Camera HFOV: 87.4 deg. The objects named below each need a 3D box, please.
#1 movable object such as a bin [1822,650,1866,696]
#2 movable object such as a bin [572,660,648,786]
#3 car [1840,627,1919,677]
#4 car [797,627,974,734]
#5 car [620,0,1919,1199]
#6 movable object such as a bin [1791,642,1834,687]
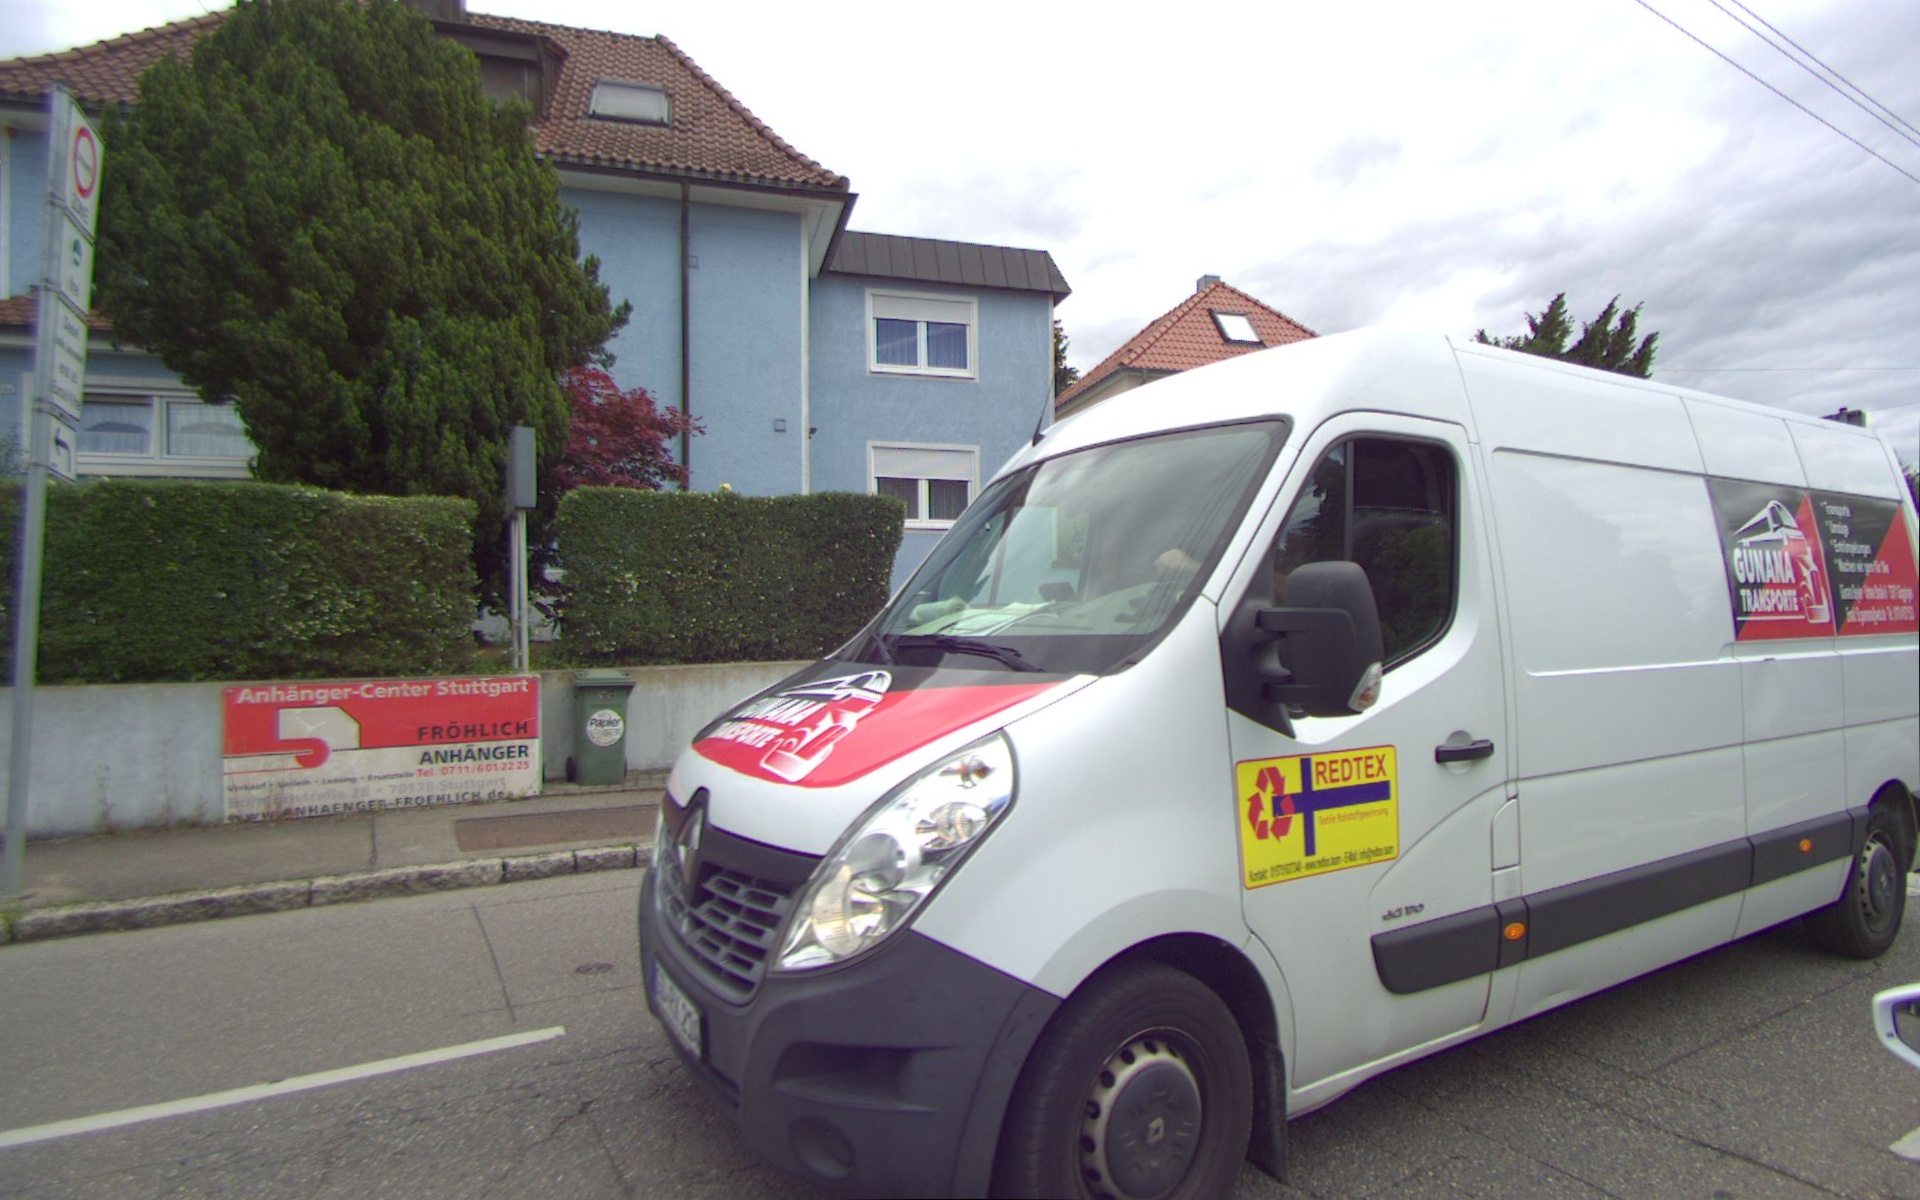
[{"bbox_3d":[19.113,1.572,21.721,0.501,0.954,0.538,2,0,-17],"label":"movable object such as a bin"},{"bbox_3d":[-2.944,1.007,8.432,0.533,0.986,0.505,1,-1,-27],"label":"movable object such as a bin"},{"bbox_3d":[28.322,1.499,29.306,1.822,1.409,3.583,0,-1,-21],"label":"car"},{"bbox_3d":[-1.318,1.151,15.825,1.968,1.409,3.986,0,-1,-17],"label":"car"},{"bbox_3d":[1.932,0.232,4.233,6.054,2.531,2.101,2,-2,-31],"label":"car"},{"bbox_3d":[19.054,1.438,22.460,0.501,0.954,0.538,2,0,-17],"label":"movable object such as a bin"}]
